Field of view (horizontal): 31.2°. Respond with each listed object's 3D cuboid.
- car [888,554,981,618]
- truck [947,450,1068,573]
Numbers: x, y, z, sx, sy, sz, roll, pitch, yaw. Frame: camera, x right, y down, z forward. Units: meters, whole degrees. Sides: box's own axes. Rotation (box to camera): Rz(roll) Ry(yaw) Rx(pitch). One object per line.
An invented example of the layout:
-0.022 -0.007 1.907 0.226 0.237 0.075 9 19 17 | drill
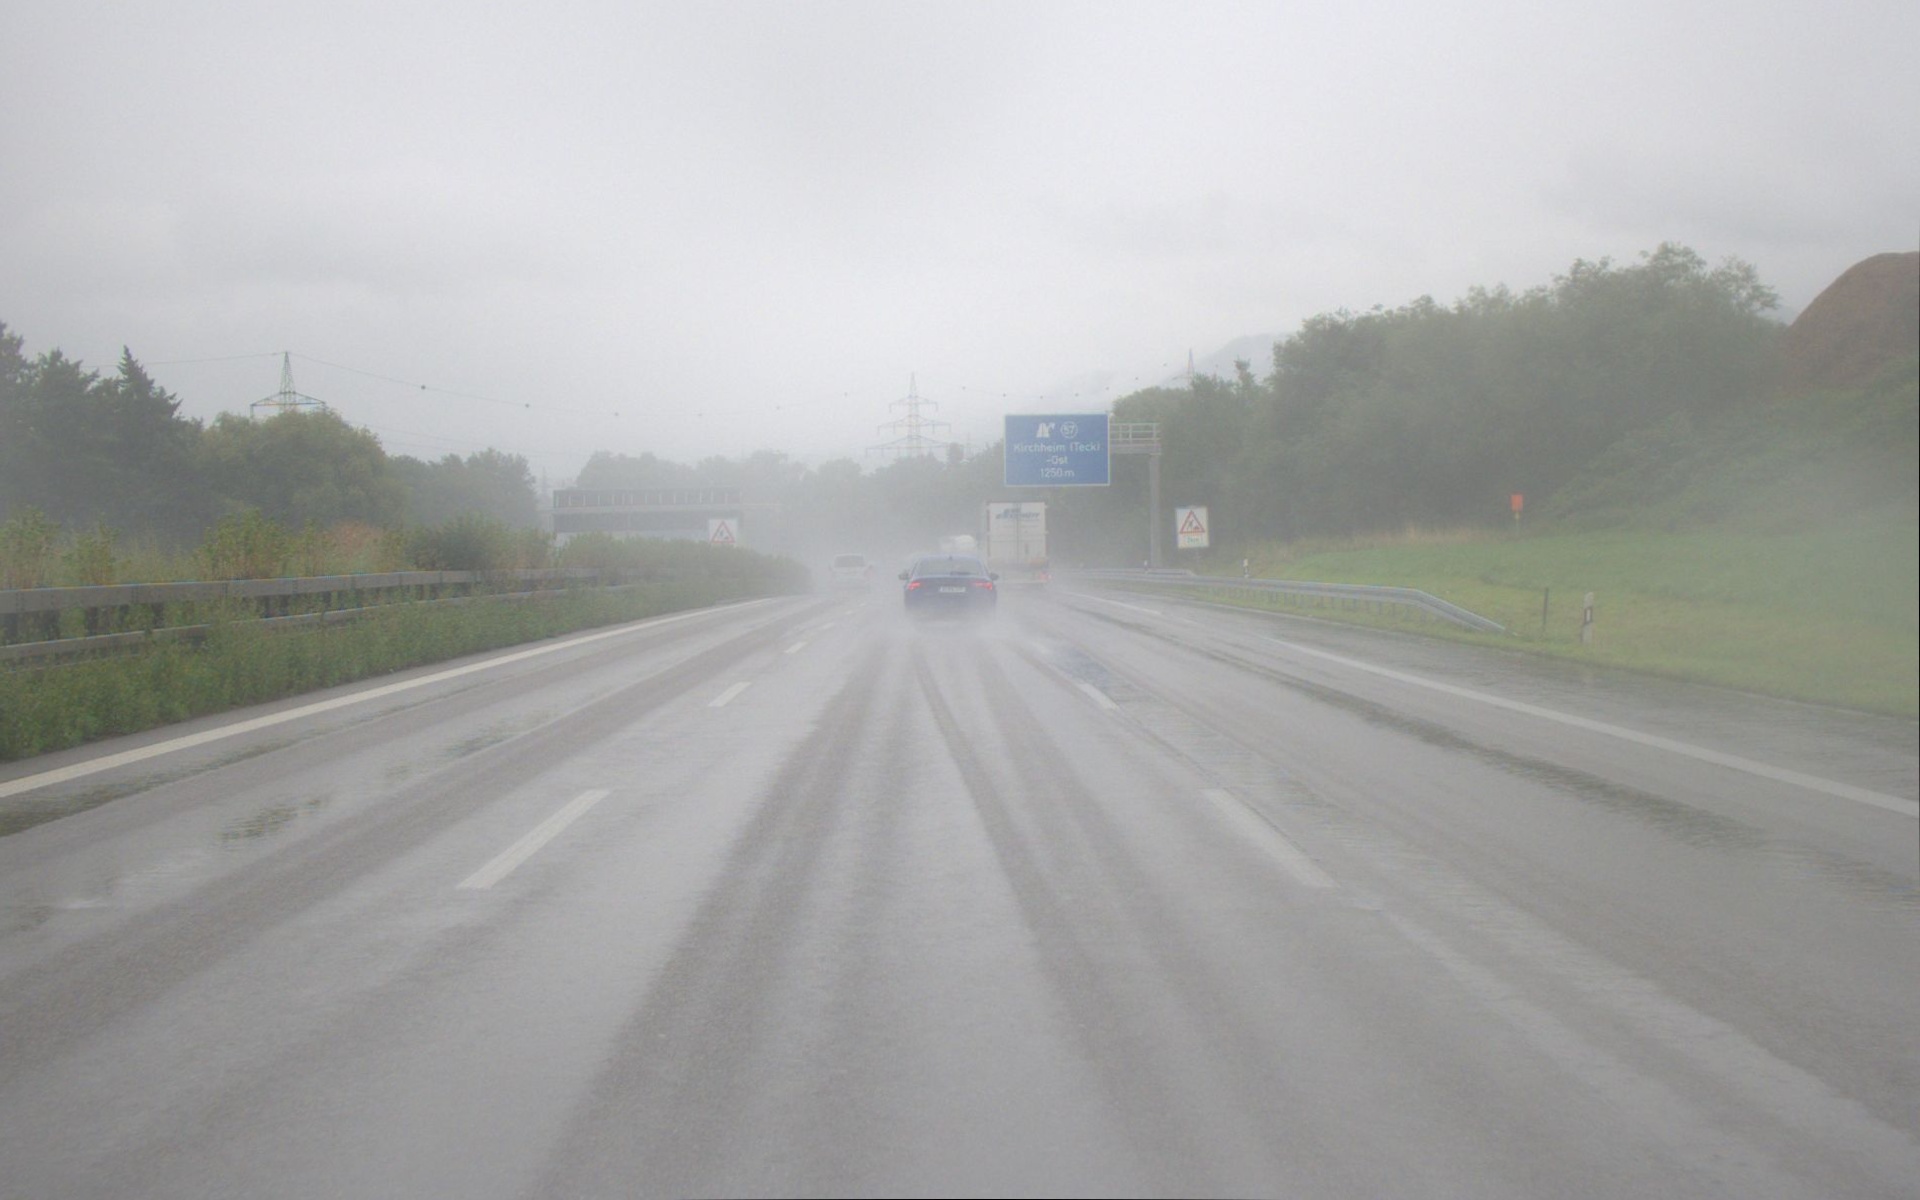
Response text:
-0.521 -0.288 67.149 1.748 1.208 4.000 0 1 -1 | car
1.980 -3.888 153.598 4.256 4.955 17.342 -3 1 -2 | truck
